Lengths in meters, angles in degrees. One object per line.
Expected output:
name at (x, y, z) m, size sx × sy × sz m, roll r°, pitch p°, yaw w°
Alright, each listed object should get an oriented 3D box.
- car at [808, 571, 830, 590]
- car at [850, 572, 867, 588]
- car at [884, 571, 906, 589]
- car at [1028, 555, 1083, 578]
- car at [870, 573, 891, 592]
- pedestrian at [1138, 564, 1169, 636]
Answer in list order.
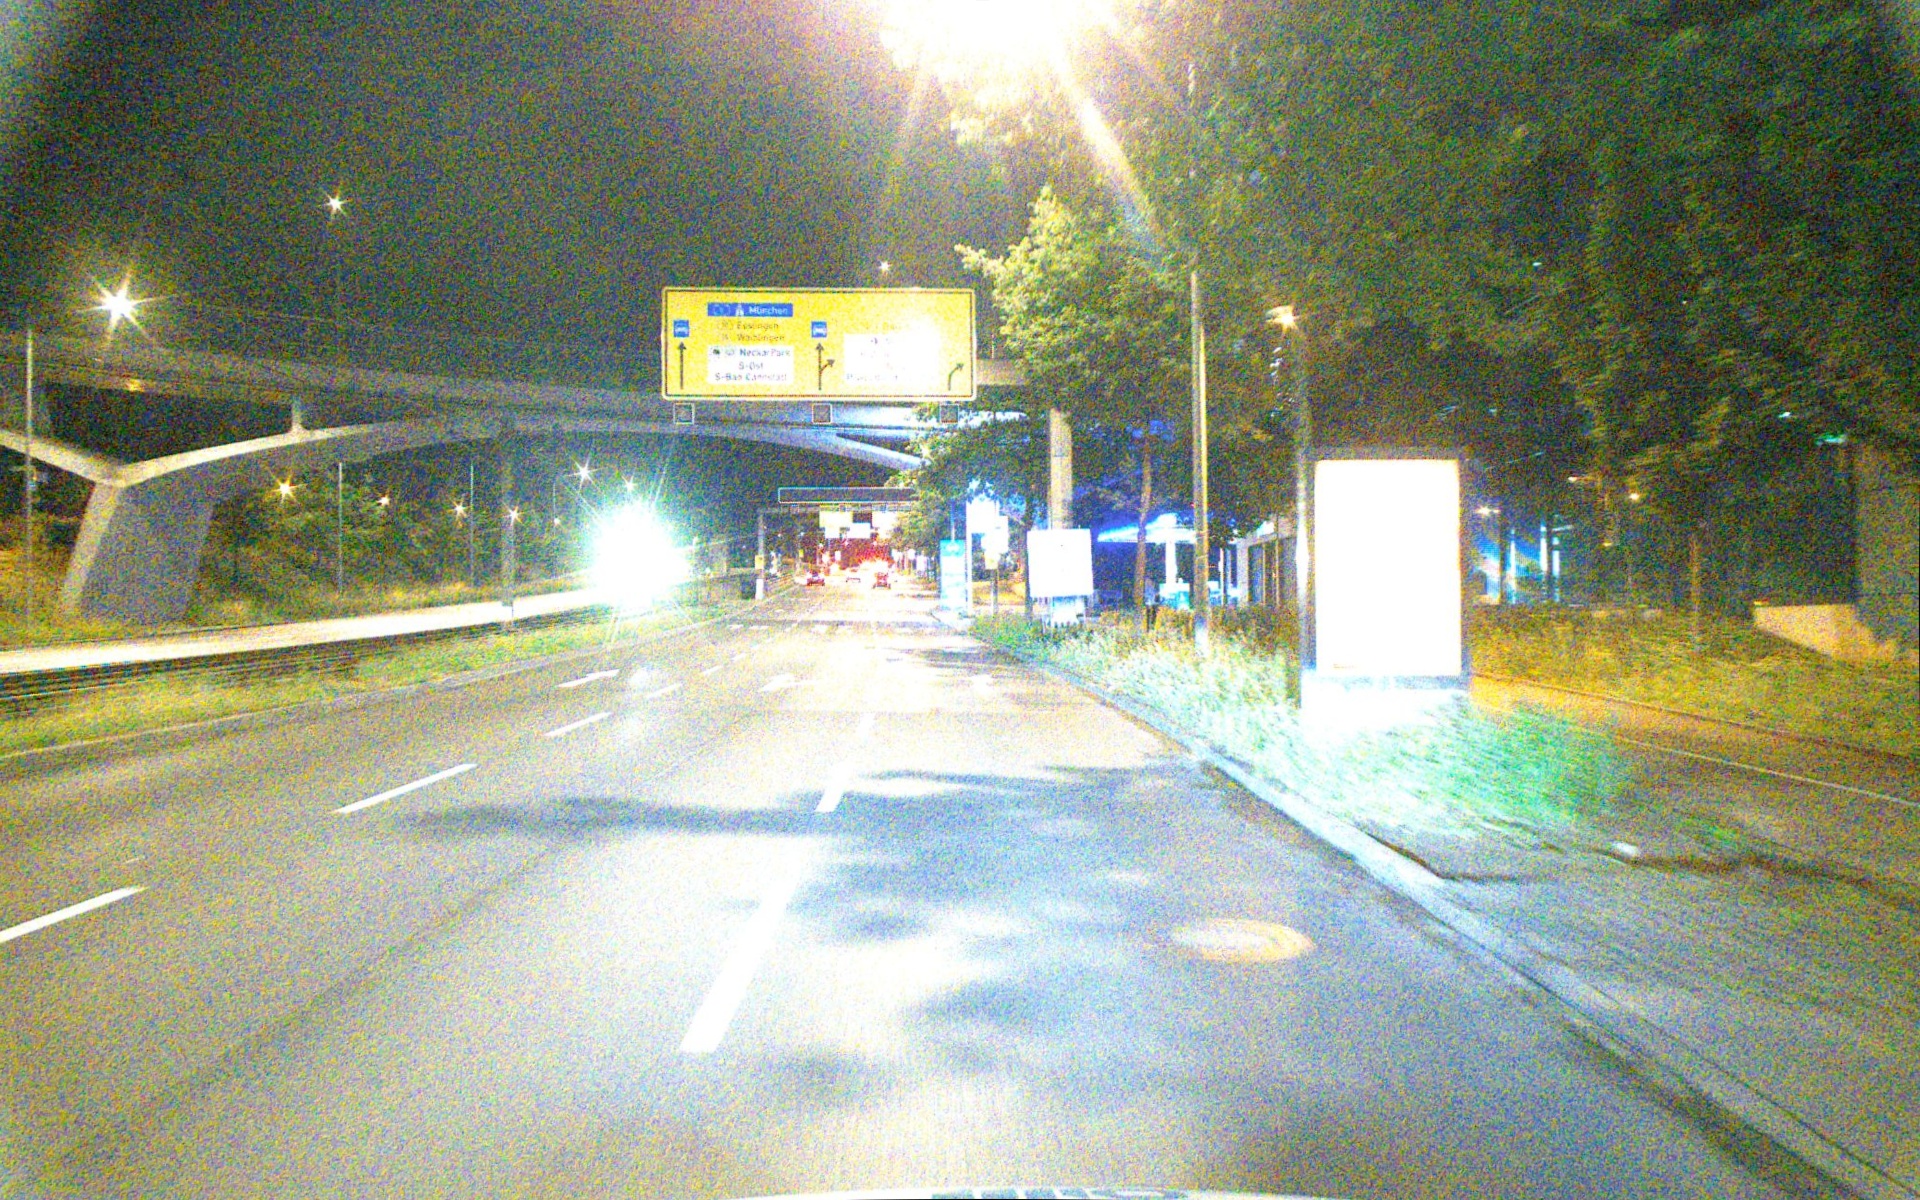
car at (-14.042, -1.924, 165.195) m, size 1.928 × 1.741 × 3.999 m, roll 1°, pitch 0°, yaw -1°
car at (-11.858, -2.353, 193.520) m, size 1.746 × 1.741 × 3.999 m, roll 1°, pitch 0°, yaw -1°
car at (-7.831, -2.370, 200.449) m, size 2.597 × 2.049 × 5.298 m, roll 1°, pitch 0°, yaw -1°
car at (7.282, -2.580, 126.939) m, size 4.036 × 1.549 × 1.822 m, roll -2°, pitch -1°, yaw -2°
car at (-7.588, -1.689, 158.348) m, size 1.928 × 1.741 × 3.999 m, roll 1°, pitch 0°, yaw -1°
pedestrian at (5.417, -0.005, 46.325) m, size 0.787 × 1.946 × 0.794 m, roll -3°, pitch 0°, yaw 6°
